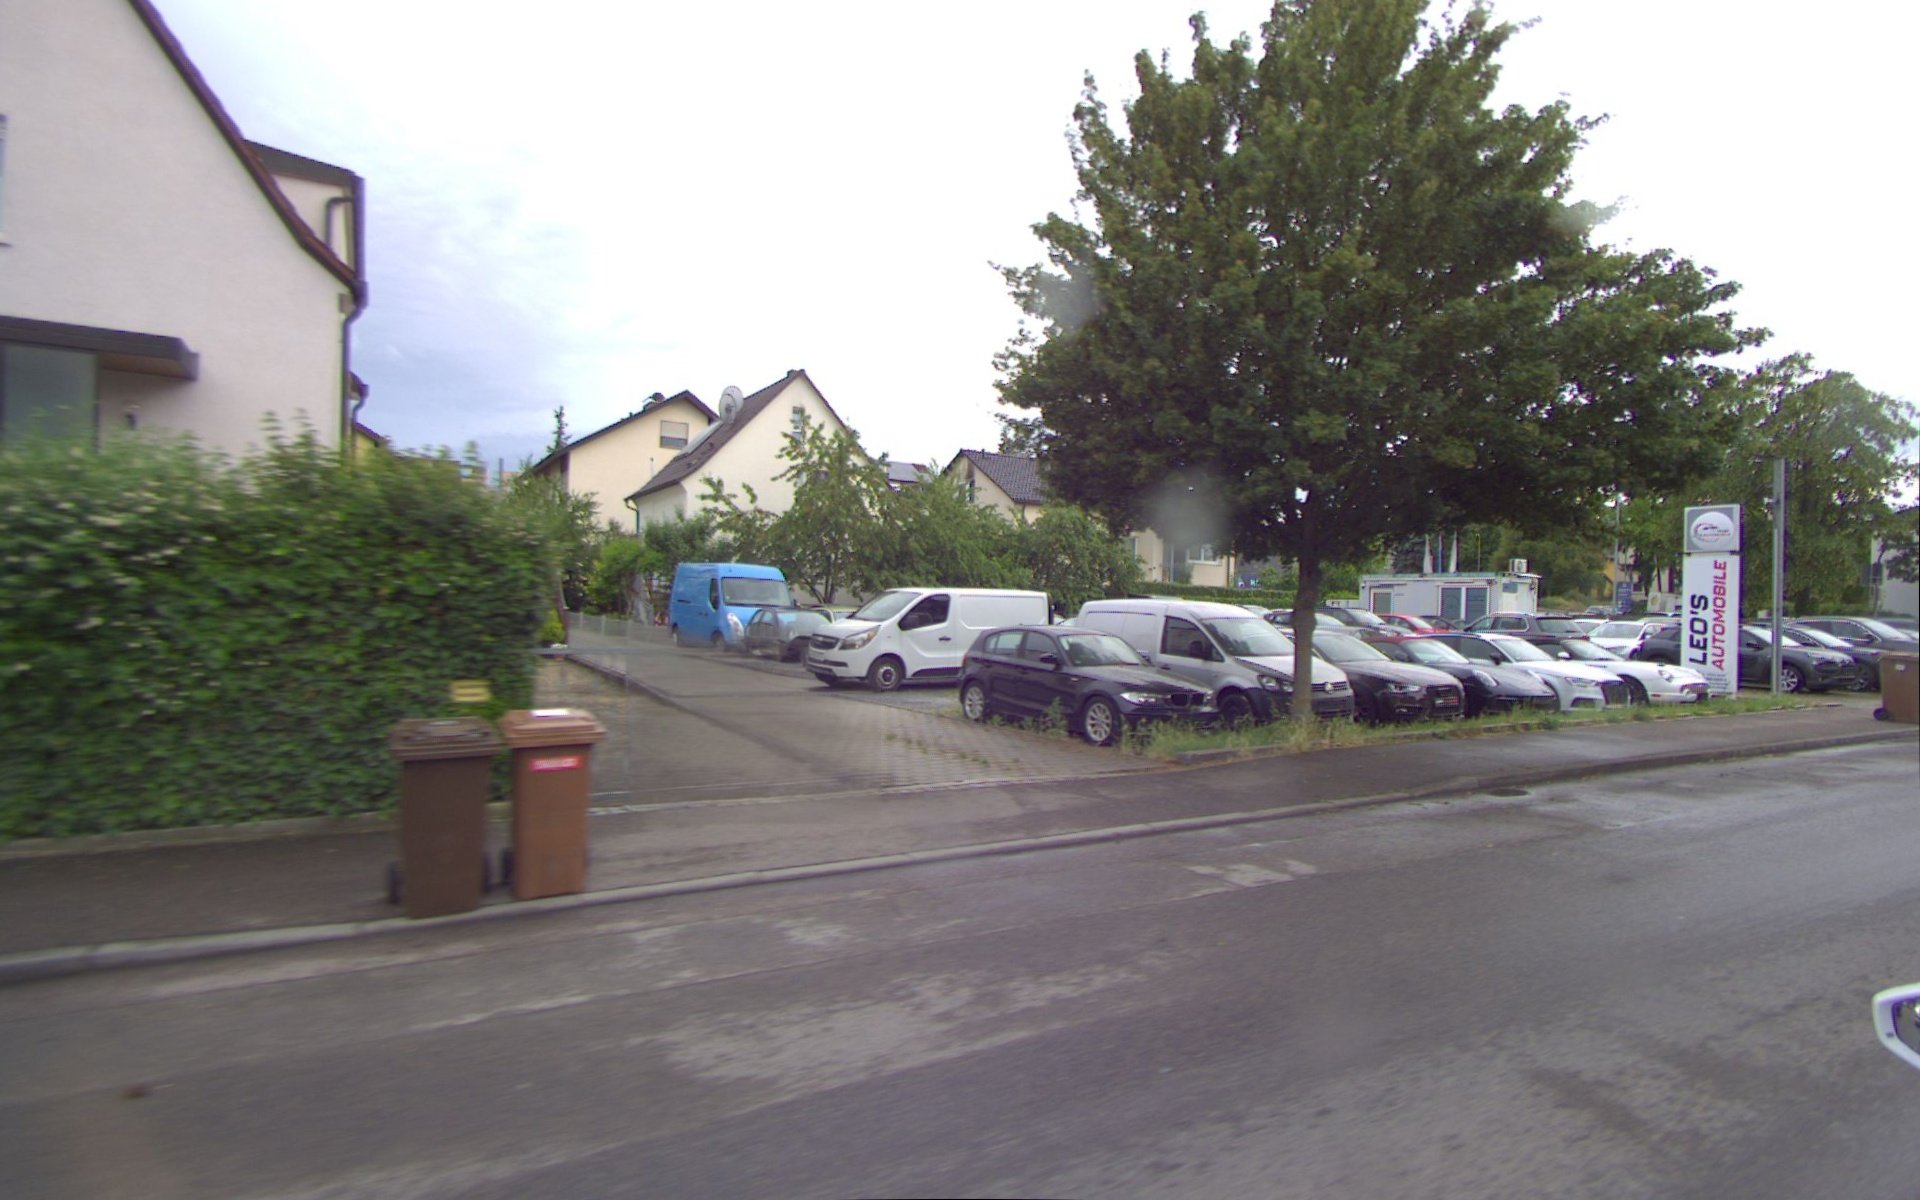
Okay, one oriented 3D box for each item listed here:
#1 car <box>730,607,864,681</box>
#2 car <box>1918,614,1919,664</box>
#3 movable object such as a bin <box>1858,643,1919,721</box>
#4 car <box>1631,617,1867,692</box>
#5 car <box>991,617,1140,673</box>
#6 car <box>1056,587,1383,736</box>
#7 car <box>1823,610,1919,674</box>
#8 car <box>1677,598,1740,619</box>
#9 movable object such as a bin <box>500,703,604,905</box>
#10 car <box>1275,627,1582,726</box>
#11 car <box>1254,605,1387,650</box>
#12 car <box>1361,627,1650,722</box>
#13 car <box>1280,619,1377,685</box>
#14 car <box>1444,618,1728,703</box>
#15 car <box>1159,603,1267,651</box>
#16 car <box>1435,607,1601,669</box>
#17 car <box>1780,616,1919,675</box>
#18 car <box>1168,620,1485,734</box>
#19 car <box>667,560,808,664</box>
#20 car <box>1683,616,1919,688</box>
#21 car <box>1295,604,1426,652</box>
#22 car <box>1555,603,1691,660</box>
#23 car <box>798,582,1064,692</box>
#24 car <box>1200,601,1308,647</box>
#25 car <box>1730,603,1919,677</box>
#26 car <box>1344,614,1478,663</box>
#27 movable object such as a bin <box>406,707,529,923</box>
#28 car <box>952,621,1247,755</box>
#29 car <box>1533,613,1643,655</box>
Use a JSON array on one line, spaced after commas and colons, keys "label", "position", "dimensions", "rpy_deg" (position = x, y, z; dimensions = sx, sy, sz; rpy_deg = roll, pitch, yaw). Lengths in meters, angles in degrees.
[{"label": "car", "position": [-3.606, 0.889, 21.727], "dimensions": [1.653, 1.439, 3.722], "rpy_deg": [1, -1, -30]}, {"label": "car", "position": [31.526, 1.271, 29.916], "dimensions": [1.780, 1.564, 3.972], "rpy_deg": [1, 1, -27]}, {"label": "movable object such as a bin", "position": [14.638, 1.261, 15.685], "dimensions": [0.726, 1.145, 0.704], "rpy_deg": [1, 1, -29]}, {"label": "car", "position": [18.435, 1.214, 23.658], "dimensions": [1.817, 1.483, 3.970], "rpy_deg": [1, 0, -29]}, {"label": "car", "position": [2.669, 1.092, 25.076], "dimensions": [3.499, 1.252, 1.647], "rpy_deg": [1, 0, -36]}, {"label": "car", "position": [3.555, 0.751, 14.616], "dimensions": [1.878, 1.814, 4.530], "rpy_deg": [1, 0, -33]}, {"label": "car", "position": [27.388, 1.204, 28.236], "dimensions": [1.935, 1.713, 4.329], "rpy_deg": [1, 0, -29]}, {"label": "car", "position": [65.670, 0.734, 88.218], "dimensions": [3.919, 1.747, 2.001], "rpy_deg": [1, 2, 8]}, {"label": "movable object such as a bin", "position": [-2.178, 1.054, 5.340], "dimensions": [0.420, 0.923, 0.537], "rpy_deg": [1, 3, -31]}, {"label": "car", "position": [7.792, 1.190, 17.204], "dimensions": [1.867, 1.327, 4.536], "rpy_deg": [1, 0, -30]}, {"label": "car", "position": [11.476, 0.855, 32.235], "dimensions": [1.973, 1.290, 3.723], "rpy_deg": [1, 0, -25]}, {"label": "car", "position": [9.833, 1.259, 18.468], "dimensions": [1.867, 1.392, 4.356], "rpy_deg": [1, 0, -30]}, {"label": "car", "position": [8.941, 1.201, 24.251], "dimensions": [1.316, 1.434, 3.221], "rpy_deg": [1, 0, 37]}, {"label": "car", "position": [12.004, 1.089, 19.599], "dimensions": [1.750, 1.349, 4.430], "rpy_deg": [1, 0, -30]}, {"label": "car", "position": [9.123, 0.938, 36.494], "dimensions": [1.765, 1.592, 3.719], "rpy_deg": [1, 0, -28]}, {"label": "car", "position": [15.268, 0.990, 27.746], "dimensions": [1.903, 1.519, 3.992], "rpy_deg": [1, 0, -11]}, {"label": "car", "position": [25.215, 1.222, 27.151], "dimensions": [1.935, 1.451, 4.329], "rpy_deg": [1, 0, -29]}, {"label": "car", "position": [5.622, 1.093, 15.991], "dimensions": [1.878, 1.437, 4.530], "rpy_deg": [1, 0, -33]}, {"label": "car", "position": [-5.955, 0.236, 26.229], "dimensions": [2.023, 2.406, 5.643], "rpy_deg": [1, 1, -29]}, {"label": "car", "position": [20.688, 1.205, 24.708], "dimensions": [1.917, 1.483, 4.329], "rpy_deg": [1, 0, -29]}, {"label": "car", "position": [13.310, 0.895, 33.563], "dimensions": [1.768, 1.457, 3.712], "rpy_deg": [1, 0, -33]}, {"label": "car", "position": [19.092, 0.885, 28.882], "dimensions": [3.952, 1.550, 1.683], "rpy_deg": [1, -1, -30]}, {"label": "car", "position": [-0.514, 0.702, 20.021], "dimensions": [4.998, 1.956, 1.982], "rpy_deg": [1, -1, -33]}, {"label": "car", "position": [11.021, 0.881, 37.861], "dimensions": [1.767, 1.579, 3.715], "rpy_deg": [1, 0, -31]}, {"label": "car", "position": [22.954, 0.979, 26.022], "dimensions": [2.033, 1.714, 4.329], "rpy_deg": [1, 0, -29]}, {"label": "car", "position": [15.654, 1.297, 35.048], "dimensions": [1.817, 1.550, 3.966], "rpy_deg": [1, 0, -31]}, {"label": "movable object such as a bin", "position": [-2.491, 1.046, 5.063], "dimensions": [0.500, 0.923, 0.537], "rpy_deg": [1, 3, -31]}, {"label": "car", "position": [1.678, 1.030, 13.279], "dimensions": [1.743, 1.391, 3.887], "rpy_deg": [1, 0, -33]}, {"label": "car", "position": [22.278, 1.182, 35.611], "dimensions": [3.952, 1.417, 1.683], "rpy_deg": [1, -1, -30]}]
